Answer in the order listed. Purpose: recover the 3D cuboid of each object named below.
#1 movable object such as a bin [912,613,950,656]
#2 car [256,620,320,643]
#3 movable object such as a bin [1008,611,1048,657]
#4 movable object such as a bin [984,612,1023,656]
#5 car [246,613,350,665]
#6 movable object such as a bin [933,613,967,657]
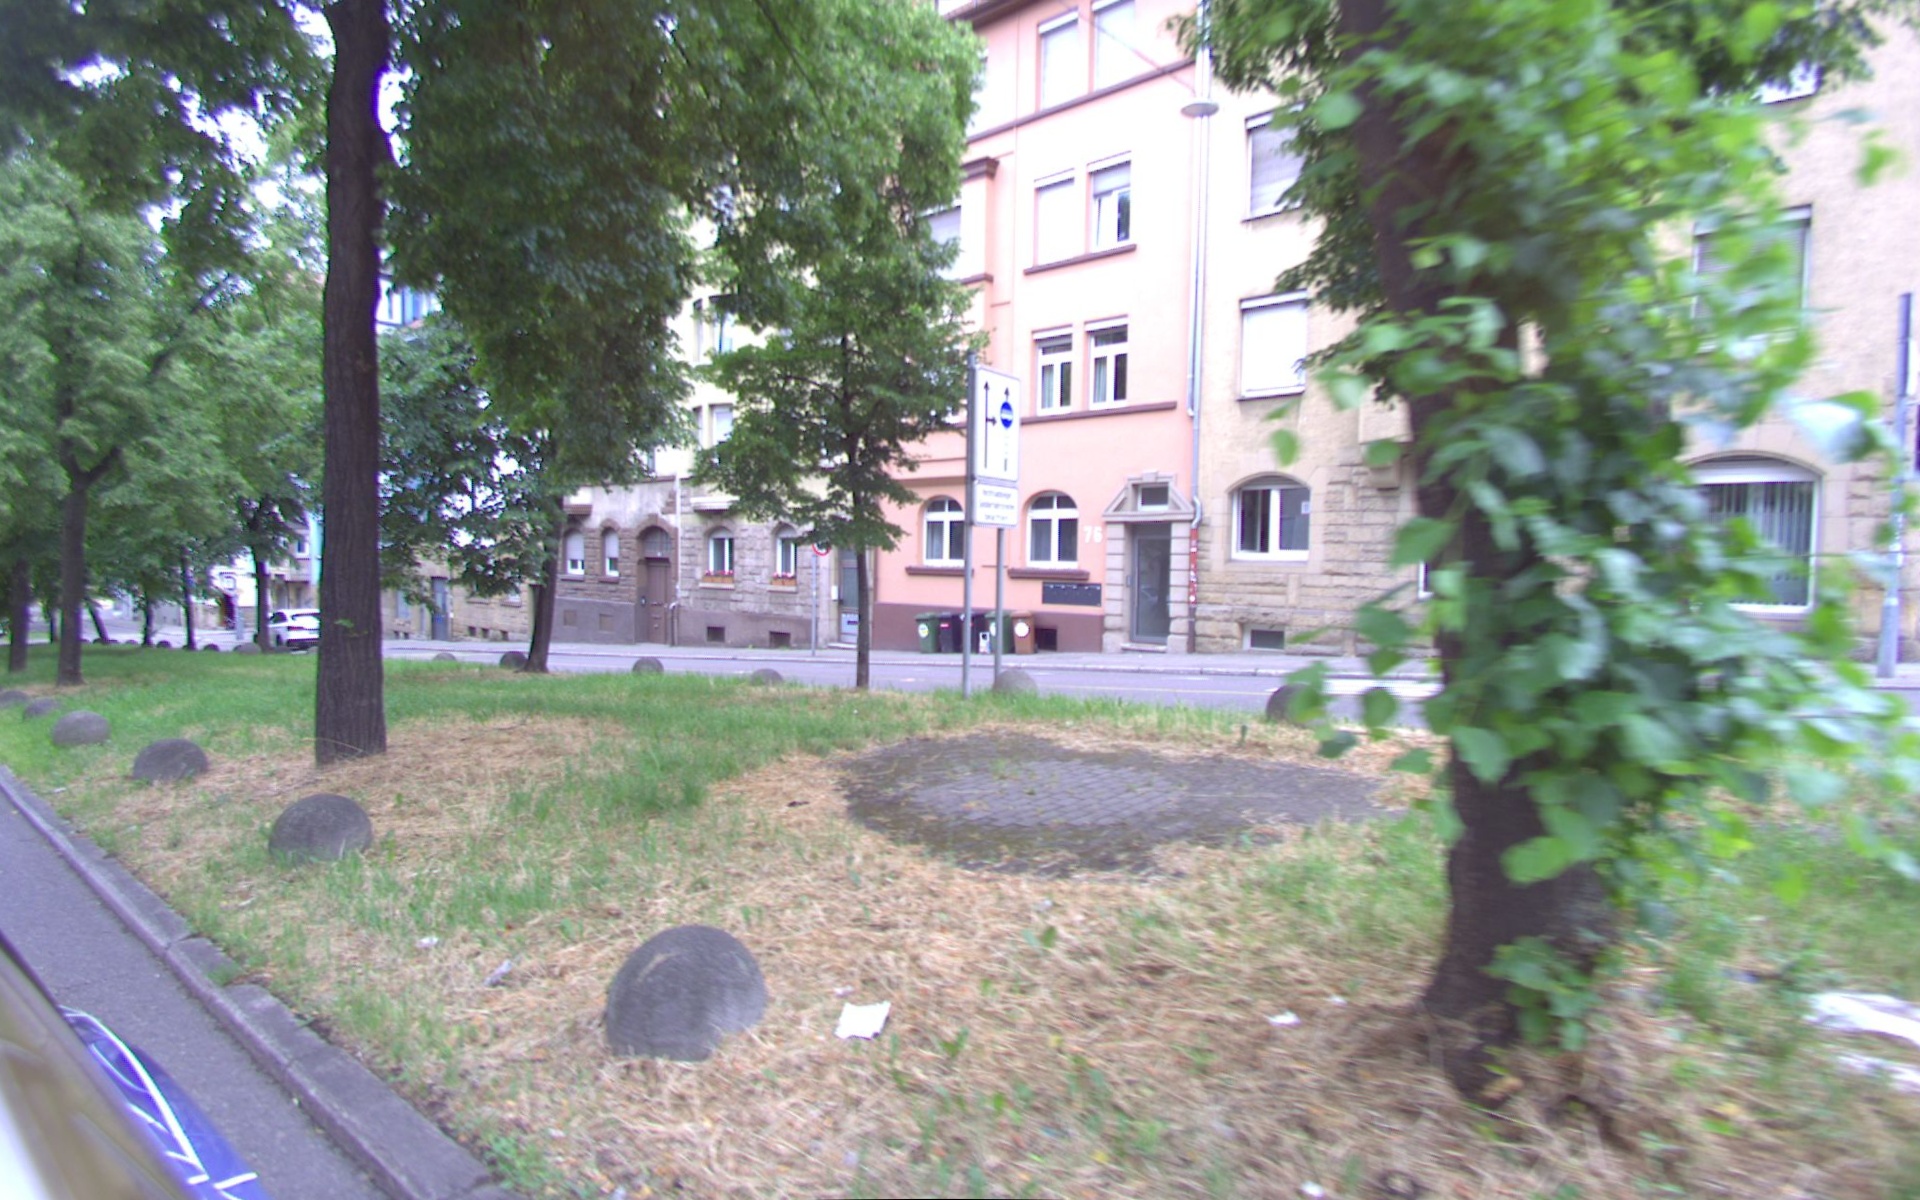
[{"bbox_3d":[-0.658,0.796,23.289,0.617,0.955,0.610,-1,0,40],"label":"movable object such as a bin"},{"bbox_3d":[-43.528,2.033,65.578,3.244,1.341,1.674,-1,0,-40],"label":"car"},{"bbox_3d":[1.447,0.711,21.464,0.514,0.928,0.750,-1,0,36],"label":"movable object such as a bin"},{"bbox_3d":[0.939,0.730,21.891,0.558,0.928,0.648,-1,0,36],"label":"movable object such as a bin"},{"bbox_3d":[-23.160,1.384,35.356,4.488,1.640,1.875,-3,-1,41],"label":"car"},{"bbox_3d":[-0.222,0.788,22.862,0.531,0.953,0.575,-1,0,35],"label":"movable object such as a bin"}]
